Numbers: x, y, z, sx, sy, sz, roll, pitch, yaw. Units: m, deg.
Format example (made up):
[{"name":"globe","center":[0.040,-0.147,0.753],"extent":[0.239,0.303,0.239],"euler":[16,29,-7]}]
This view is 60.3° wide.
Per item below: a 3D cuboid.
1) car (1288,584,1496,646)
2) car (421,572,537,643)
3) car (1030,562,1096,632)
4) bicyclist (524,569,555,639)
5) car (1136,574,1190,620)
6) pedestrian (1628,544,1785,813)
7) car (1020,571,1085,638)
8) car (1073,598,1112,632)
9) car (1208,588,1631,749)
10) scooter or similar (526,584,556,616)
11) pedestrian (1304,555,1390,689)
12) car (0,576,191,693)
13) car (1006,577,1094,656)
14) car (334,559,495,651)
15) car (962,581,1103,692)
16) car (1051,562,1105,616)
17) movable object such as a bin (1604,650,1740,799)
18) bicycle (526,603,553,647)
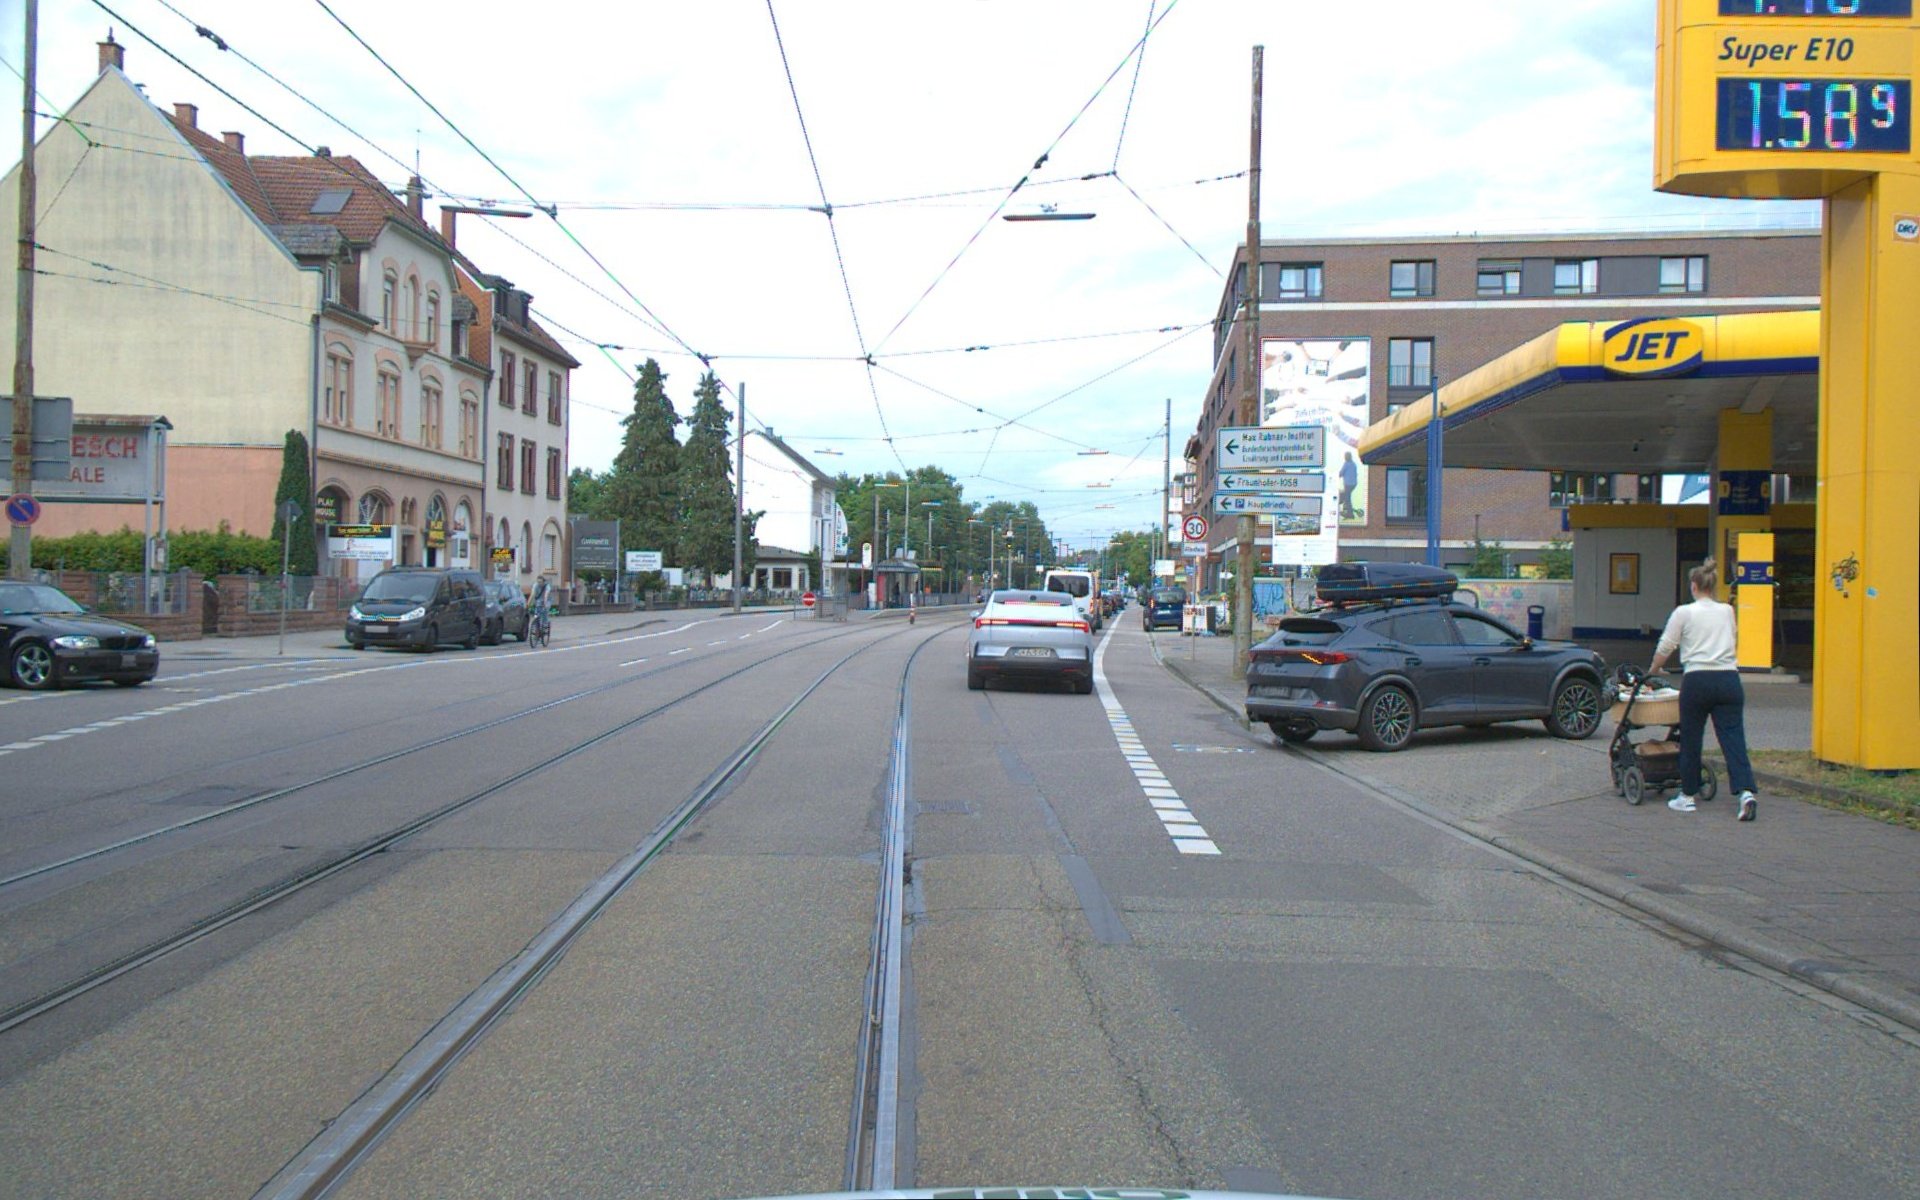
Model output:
[{"name":"car","center":[10.981,0.349,42.206],"extent":[4.798,1.452,1.942],"euler":[1,0,41]},{"name":"car","center":[-12.824,0.204,44.362],"extent":[1.807,1.748,4.193],"euler":[2,0,0]},{"name":"car","center":[3.828,-0.094,62.393],"extent":[2.171,2.465,4.951],"euler":[2,0,1]},{"name":"bicyclist","center":[-10.823,0.105,42.624],"extent":[0.722,1.780,0.976],"euler":[0,0,-12]},{"name":"car","center":[8.616,-0.119,70.494],"extent":[1.836,1.855,4.097],"euler":[2,0,1]},{"name":"pedestrian","center":[5.346,0.539,11.916],"extent":[0.751,1.828,1.163],"euler":[-2,0,13]},{"name":"car","center":[2.993,0.148,54.063],"extent":[1.952,2.049,4.001],"euler":[2,0,2]},{"name":"car","center":[8.465,0.936,105.903],"extent":[1.953,2.049,3.999],"euler":[2,0,-2]},{"name":"car","center":[5.056,0.663,18.206],"extent":[4.257,1.523,1.981],"euler":[-1,1,-25]},{"name":"scooter or similar","center":[-16.518,0.005,65.196],"extent":[1.039,1.209,0.315],"euler":[3,-1,-34]},{"name":"pedestrian","center":[5.279,0.299,22.624],"extent":[0.951,1.769,0.861],"euler":[-1,-1,1]},{"name":"car","center":[-12.394,0.396,21.899],"extent":[3.838,1.412,1.802],"euler":[1,0,19]},{"name":"car","center":[2.192,0.401,41.150],"extent":[1.928,1.787,3.837],"euler":[2,0,0]},{"name":"car","center":[-12.643,0.123,38.713],"extent":[1.951,1.920,4.999],"euler":[2,0,1]},{"name":"car","center":[1.086,0.538,26.756],"extent":[1.942,1.577,4.182],"euler":[2,0,-1]},{"name":"car","center":[5.082,-0.433,71.724],"extent":[2.095,2.183,4.744],"euler":[2,0,2]},{"name":"movable object such as a bin","center":[5.460,0.941,12.745],"extent":[0.751,1.057,1.025],"euler":[-2,0,13]},{"name":"bicycle","center":[-10.821,0.635,42.628],"extent":[0.576,1.092,1.951],"euler":[0,0,-11]}]
